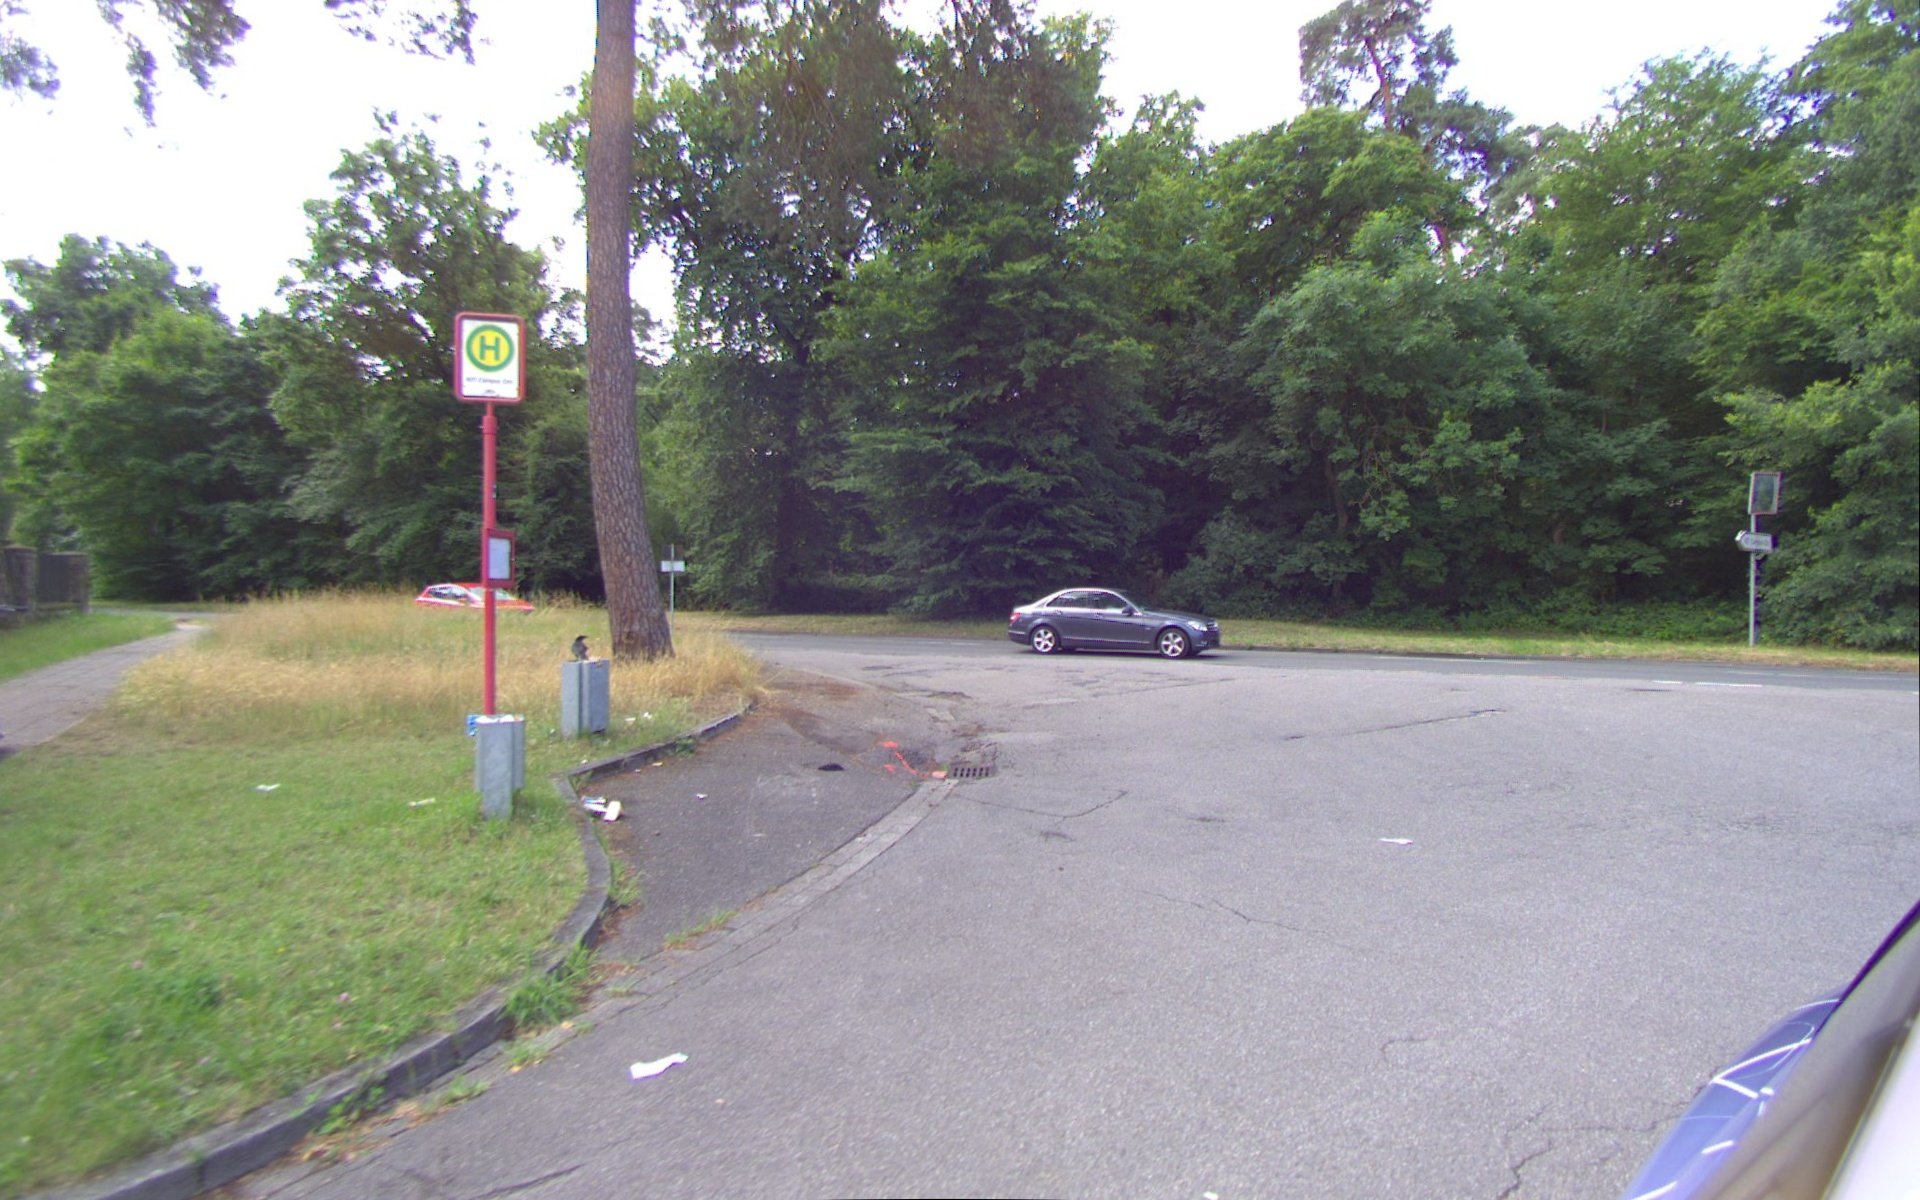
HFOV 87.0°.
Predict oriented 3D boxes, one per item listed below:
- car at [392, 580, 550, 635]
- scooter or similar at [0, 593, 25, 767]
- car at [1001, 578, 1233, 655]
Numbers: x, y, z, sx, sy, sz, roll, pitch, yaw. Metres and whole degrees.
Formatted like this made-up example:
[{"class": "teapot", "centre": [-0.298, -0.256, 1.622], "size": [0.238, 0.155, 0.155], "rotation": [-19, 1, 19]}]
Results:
[{"class": "car", "centre": [-14.388, 0.173, 29.797], "size": [4.157, 1.482, 1.984], "rotation": [1, 1, 24]}, {"class": "scooter or similar", "centre": [-7.578, 0.594, 7.778], "size": [0.430, 1.243, 1.090], "rotation": [-2, 3, -37]}, {"class": "car", "centre": [3.292, 0.297, 21.312], "size": [4.485, 1.482, 1.949], "rotation": [0, 1, 27]}]
